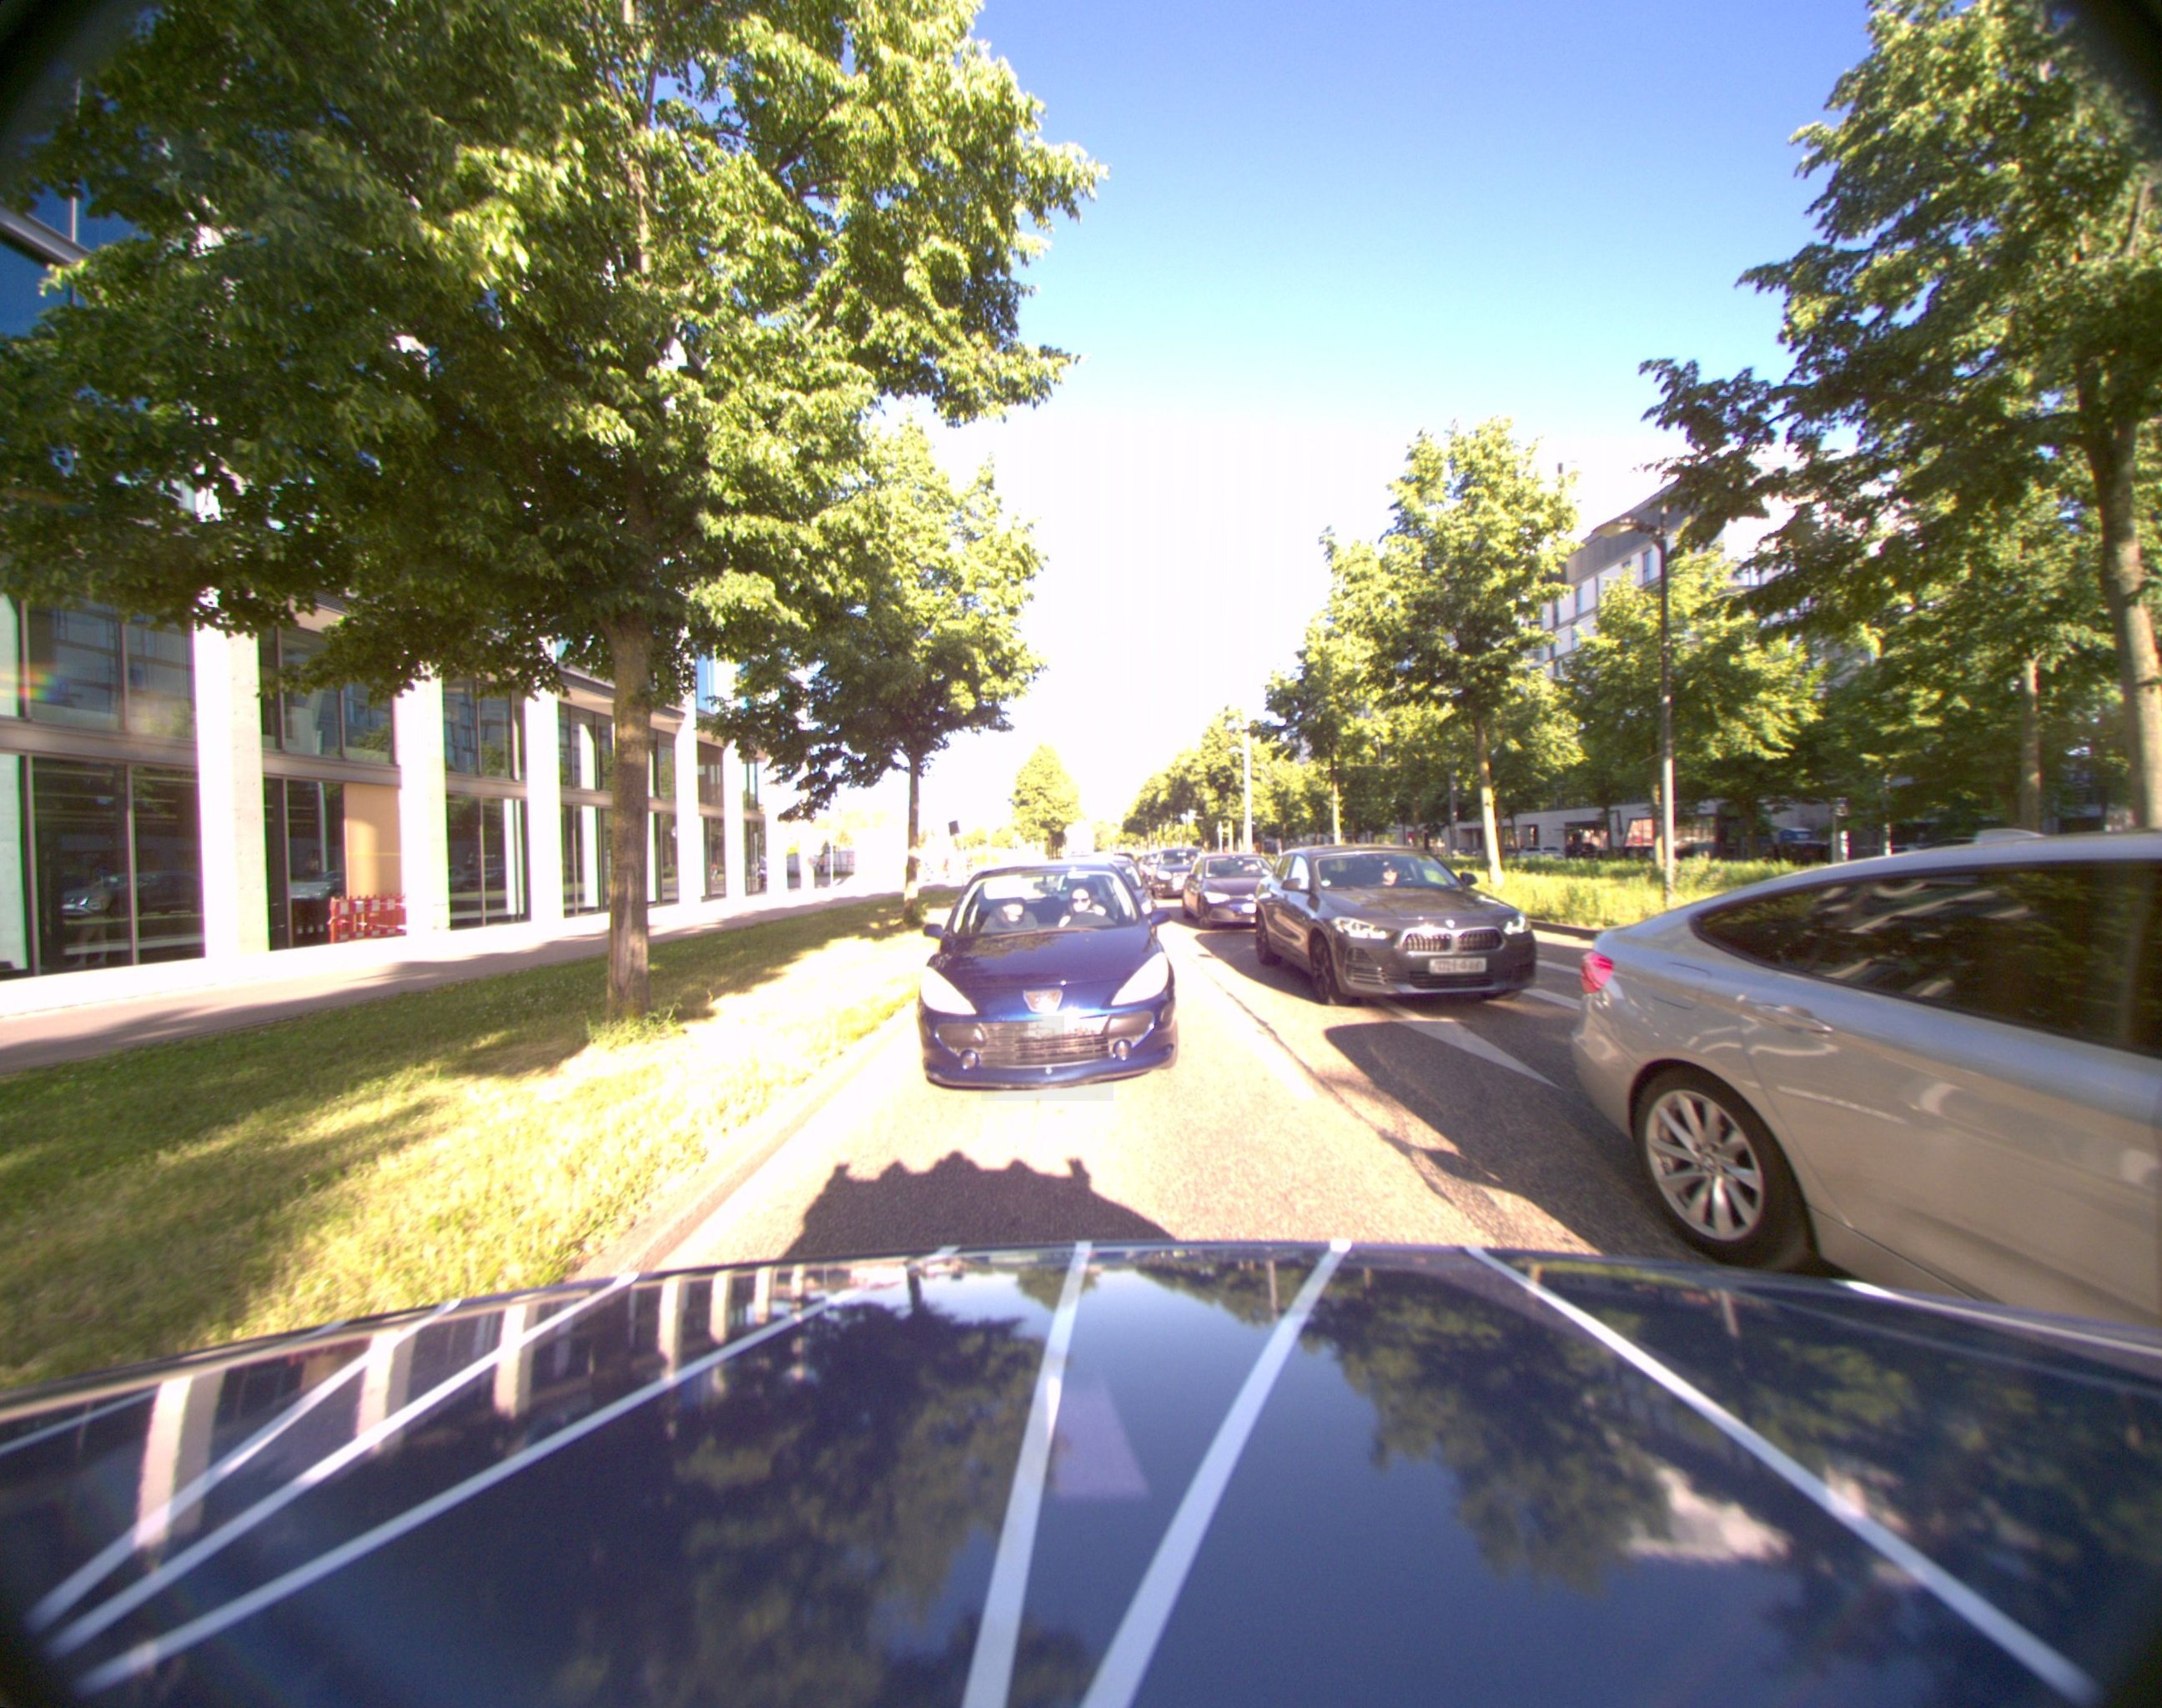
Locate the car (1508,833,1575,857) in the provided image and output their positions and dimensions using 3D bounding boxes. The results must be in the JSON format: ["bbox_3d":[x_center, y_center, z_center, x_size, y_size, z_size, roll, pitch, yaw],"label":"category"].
[{"bbox_3d":[34.840,-0.668,57.614,2.012,1.689,4.790,-2,1,-3],"label":"car"}]

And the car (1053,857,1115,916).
[{"bbox_3d":[0.097,0.774,19.809,1.407,1.326,3.785,-2,1,1],"label":"car"}]

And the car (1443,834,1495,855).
[{"bbox_3d":[34.634,-0.842,67.950,2.012,1.689,4.790,-2,1,-3],"label":"car"}]

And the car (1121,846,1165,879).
[{"bbox_3d":[3.440,0.428,43.183,2.012,1.689,4.791,-2,1,-1],"label":"car"}]

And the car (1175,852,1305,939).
[{"bbox_3d":[3.025,0.717,15.305,1.812,1.446,4.254,-1,1,2],"label":"car"}]

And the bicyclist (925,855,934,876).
[{"bbox_3d":[-9.715,0.742,48.631,0.448,1.282,0.418,-2,2,1],"label":"bicyclist"}]

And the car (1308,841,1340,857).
[{"bbox_3d":[25.236,-0.521,79.019,1.858,1.528,4.735,-2,1,1],"label":"car"}]

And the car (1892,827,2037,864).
[{"bbox_3d":[38.635,-0.361,33.376,1.757,1.496,4.000,-1,1,1],"label":"car"}]

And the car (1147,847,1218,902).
[{"bbox_3d":[3.193,0.595,24.622,1.812,1.581,4.165,-1,1,2],"label":"car"}]

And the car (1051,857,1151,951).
[{"bbox_3d":[0.359,0.833,14.803,1.612,1.463,4.395,-2,1,1],"label":"car"}]

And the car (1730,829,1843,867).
[{"bbox_3d":[34.280,-0.298,37.077,1.858,1.739,4.000,-1,1,1],"label":"car"}]

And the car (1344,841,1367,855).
[{"bbox_3d":[34.708,-0.804,96.086,1.601,1.659,3.743,-1,1,1],"label":"car"}]

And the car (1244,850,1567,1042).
[{"bbox_3d":[3.101,0.746,8.255,1.812,1.514,4.028,-2,1,1],"label":"car"}]

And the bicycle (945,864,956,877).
[{"bbox_3d":[-9.123,1.139,53.177,0.464,0.813,1.344,-2,1,1],"label":"bicycle"}]

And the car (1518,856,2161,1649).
[{"bbox_3d":[3.000,0.794,1.244,1.812,1.480,4.741,-2,1,0],"label":"car"}]

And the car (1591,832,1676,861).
[{"bbox_3d":[34.430,-0.462,47.491,1.858,1.674,4.792,-1,1,1],"label":"car"}]

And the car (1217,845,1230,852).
[{"bbox_3d":[27.131,-1.035,144.730,1.666,1.385,4.000,-1,1,1],"label":"car"}]

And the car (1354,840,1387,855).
[{"bbox_3d":[34.696,-0.787,91.256,2.012,1.689,4.791,-2,1,-1],"label":"car"}]

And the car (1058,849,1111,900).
[{"bbox_3d":[0.135,0.665,26.875,1.705,1.591,3.785,-2,1,1],"label":"car"}]

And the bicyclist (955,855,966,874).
[{"bbox_3d":[-7.859,0.686,49.562,0.534,1.210,0.507,-2,2,1],"label":"bicyclist"}]

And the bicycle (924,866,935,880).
[{"bbox_3d":[-9.682,1.202,48.545,0.415,0.813,1.320,-2,1,1],"label":"bicycle"}]

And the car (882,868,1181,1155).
[{"bbox_3d":[-0.261,0.953,6.283,1.686,1.514,3.785,-2,1,1],"label":"car"}]

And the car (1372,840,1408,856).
[{"bbox_3d":[34.666,-0.695,85.451,2.012,1.689,4.791,-2,1,-1],"label":"car"}]

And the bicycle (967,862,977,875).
[{"bbox_3d":[-7.752,1.038,53.914,0.464,0.813,1.344,-2,1,1],"label":"bicycle"}]

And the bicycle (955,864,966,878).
[{"bbox_3d":[-7.854,1.108,49.636,0.464,0.813,1.344,-2,1,1],"label":"bicycle"}]

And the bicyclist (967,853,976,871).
[{"bbox_3d":[-7.768,0.567,53.868,0.534,1.282,0.521,-2,2,1],"label":"bicyclist"}]

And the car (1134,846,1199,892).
[{"bbox_3d":[3.392,0.556,31.113,2.012,1.689,4.791,-2,1,-1],"label":"car"}]

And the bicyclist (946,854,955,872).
[{"bbox_3d":[-9.148,0.635,53.218,0.534,1.282,0.457,-2,2,1],"label":"bicyclist"}]
